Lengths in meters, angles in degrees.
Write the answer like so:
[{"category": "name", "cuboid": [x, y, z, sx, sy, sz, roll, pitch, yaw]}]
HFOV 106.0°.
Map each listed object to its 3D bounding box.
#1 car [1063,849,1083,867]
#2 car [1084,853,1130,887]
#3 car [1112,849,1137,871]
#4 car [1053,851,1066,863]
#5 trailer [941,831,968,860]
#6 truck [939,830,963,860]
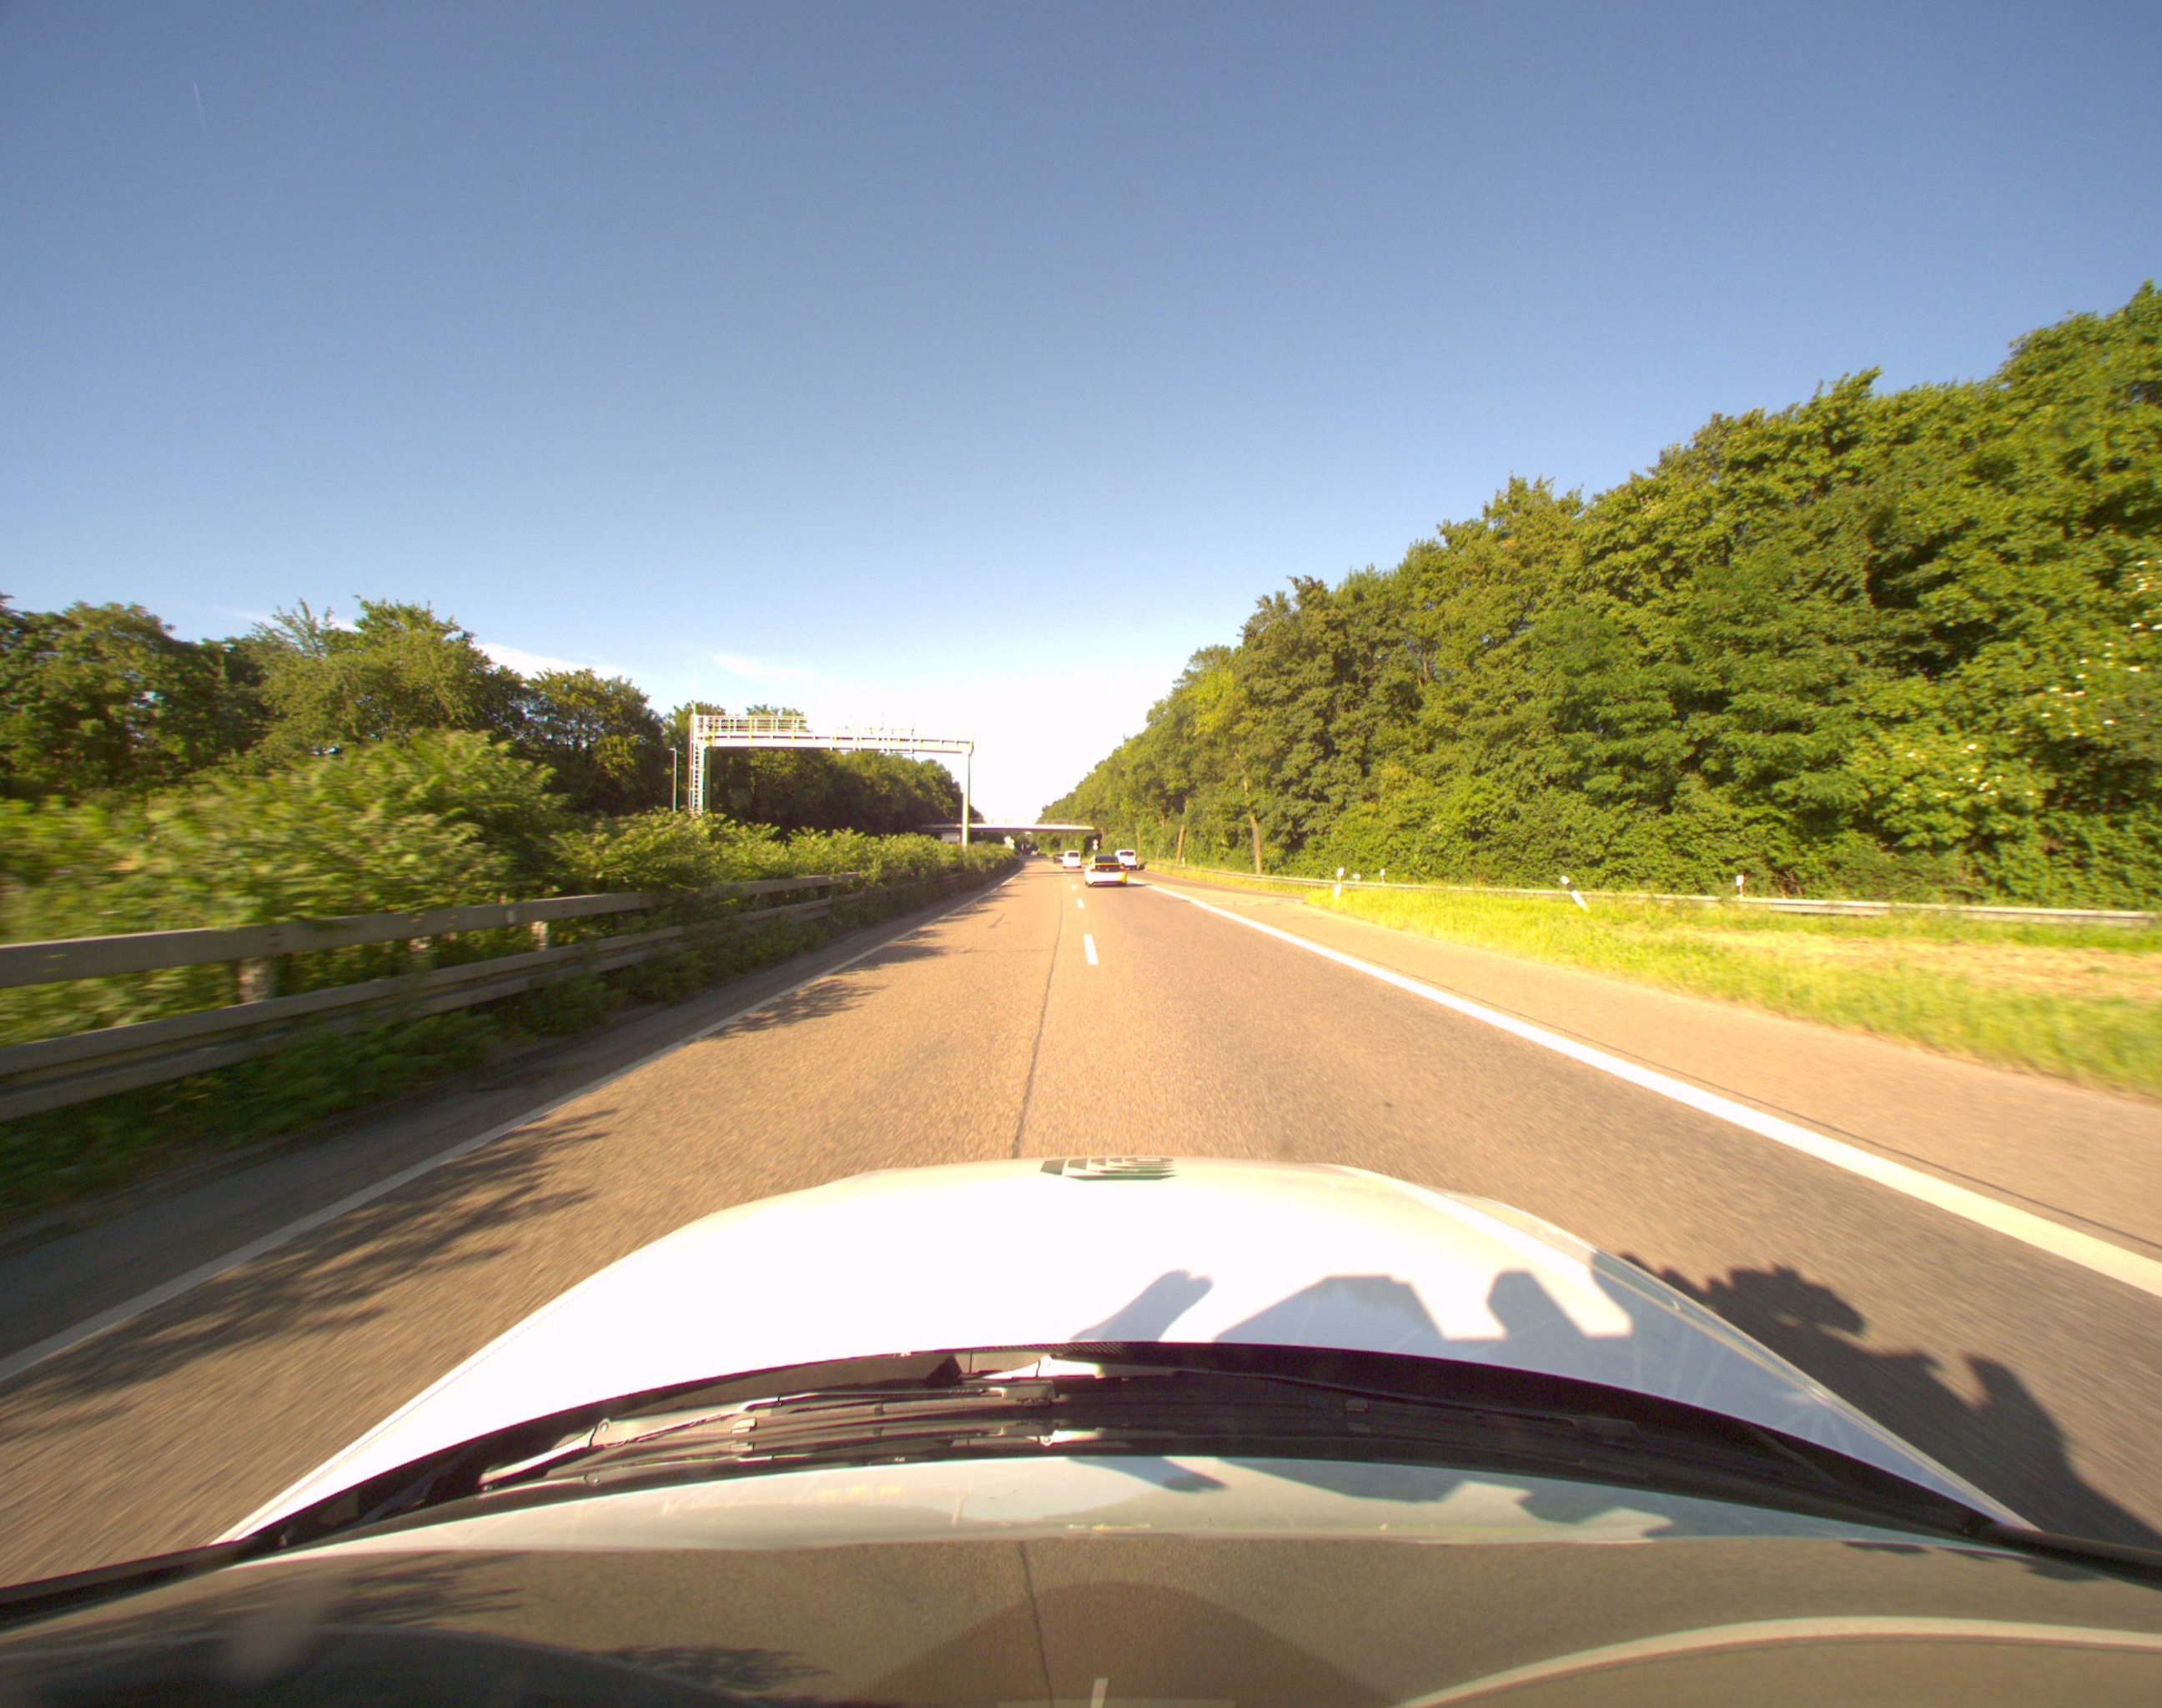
[{"category": "car", "cuboid": [-0.888, 0.420, 83.530, 1.893, 1.767, 3.996, -1, 0, -3]}, {"category": "car", "cuboid": [1.140, 0.698, 37.978, 1.892, 1.471, 3.997, -1, 0, -2]}, {"category": "car", "cuboid": [3.759, 0.493, 70.746, 1.892, 1.824, 3.998, -1, 0, -2]}, {"category": "car", "cuboid": [-3.187, 0.498, 121.905, 1.892, 1.767, 3.997, -1, 0, -2]}, {"category": "trailer", "cuboid": [-18.819, -1.224, 121.998, 2.732, 4.027, 14.056, 1, 0, -4]}, {"category": "truck", "cuboid": [-18.418, -1.232, 115.670, 2.733, 4.027, 6.171, 1, 0, -4]}]
